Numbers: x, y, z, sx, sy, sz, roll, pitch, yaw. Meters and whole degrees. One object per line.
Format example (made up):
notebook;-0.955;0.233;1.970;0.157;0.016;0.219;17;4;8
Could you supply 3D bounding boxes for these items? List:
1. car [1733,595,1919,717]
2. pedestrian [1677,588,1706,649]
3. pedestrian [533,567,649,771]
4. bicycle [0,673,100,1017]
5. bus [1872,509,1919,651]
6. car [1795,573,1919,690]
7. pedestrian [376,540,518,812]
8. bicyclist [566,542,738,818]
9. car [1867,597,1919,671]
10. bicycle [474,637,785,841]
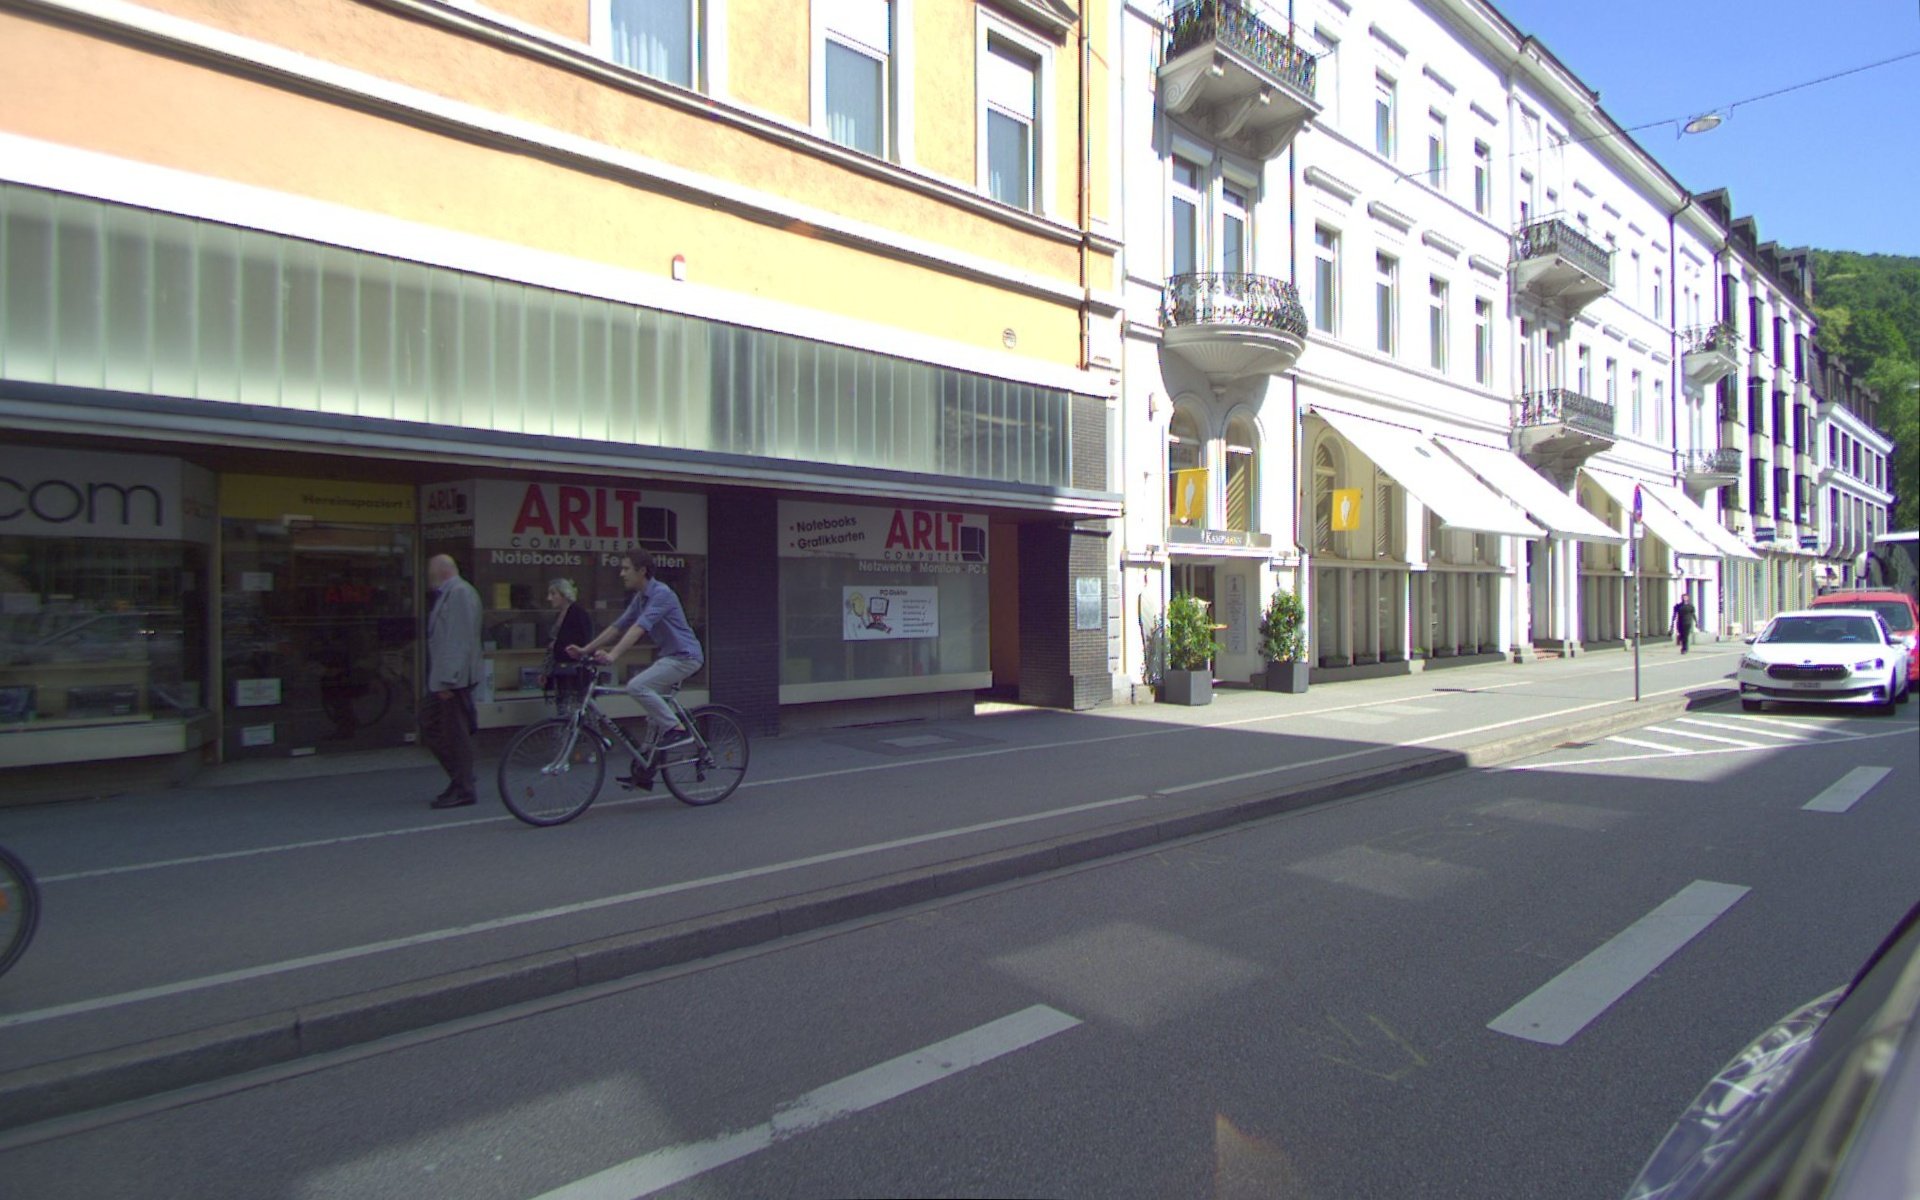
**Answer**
car;13.199;0.737;15.206;4.192;1.544;1.795;-1;-1;-43
pedestrian;20.782;0.516;28.765;0.853;1.689;0.482;0;0;-41
pedestrian;-3.226;0.574;8.851;0.829;1.686;0.522;0;-1;-40
bicycle;-4.165;0.912;3.276;2.056;1.140;0.596;-2;3;-39
bus;29.130;-0.554;29.271;12.288;3.580;2.920;-1;1;-42
car;17.291;0.589;19.058;4.529;1.937;1.700;1;-5;-43
pedestrian;-3.713;0.496;7.316;0.754;1.814;0.840;0;0;-40
bicyclist;-2.135;0.493;6.990;0.830;1.739;0.909;0;1;-43
car;21.245;0.703;22.006;4.340;1.506;1.865;0;-1;-43
bicycle;-2.201;0.857;6.904;1.885;1.132;0.747;0;0;-42
